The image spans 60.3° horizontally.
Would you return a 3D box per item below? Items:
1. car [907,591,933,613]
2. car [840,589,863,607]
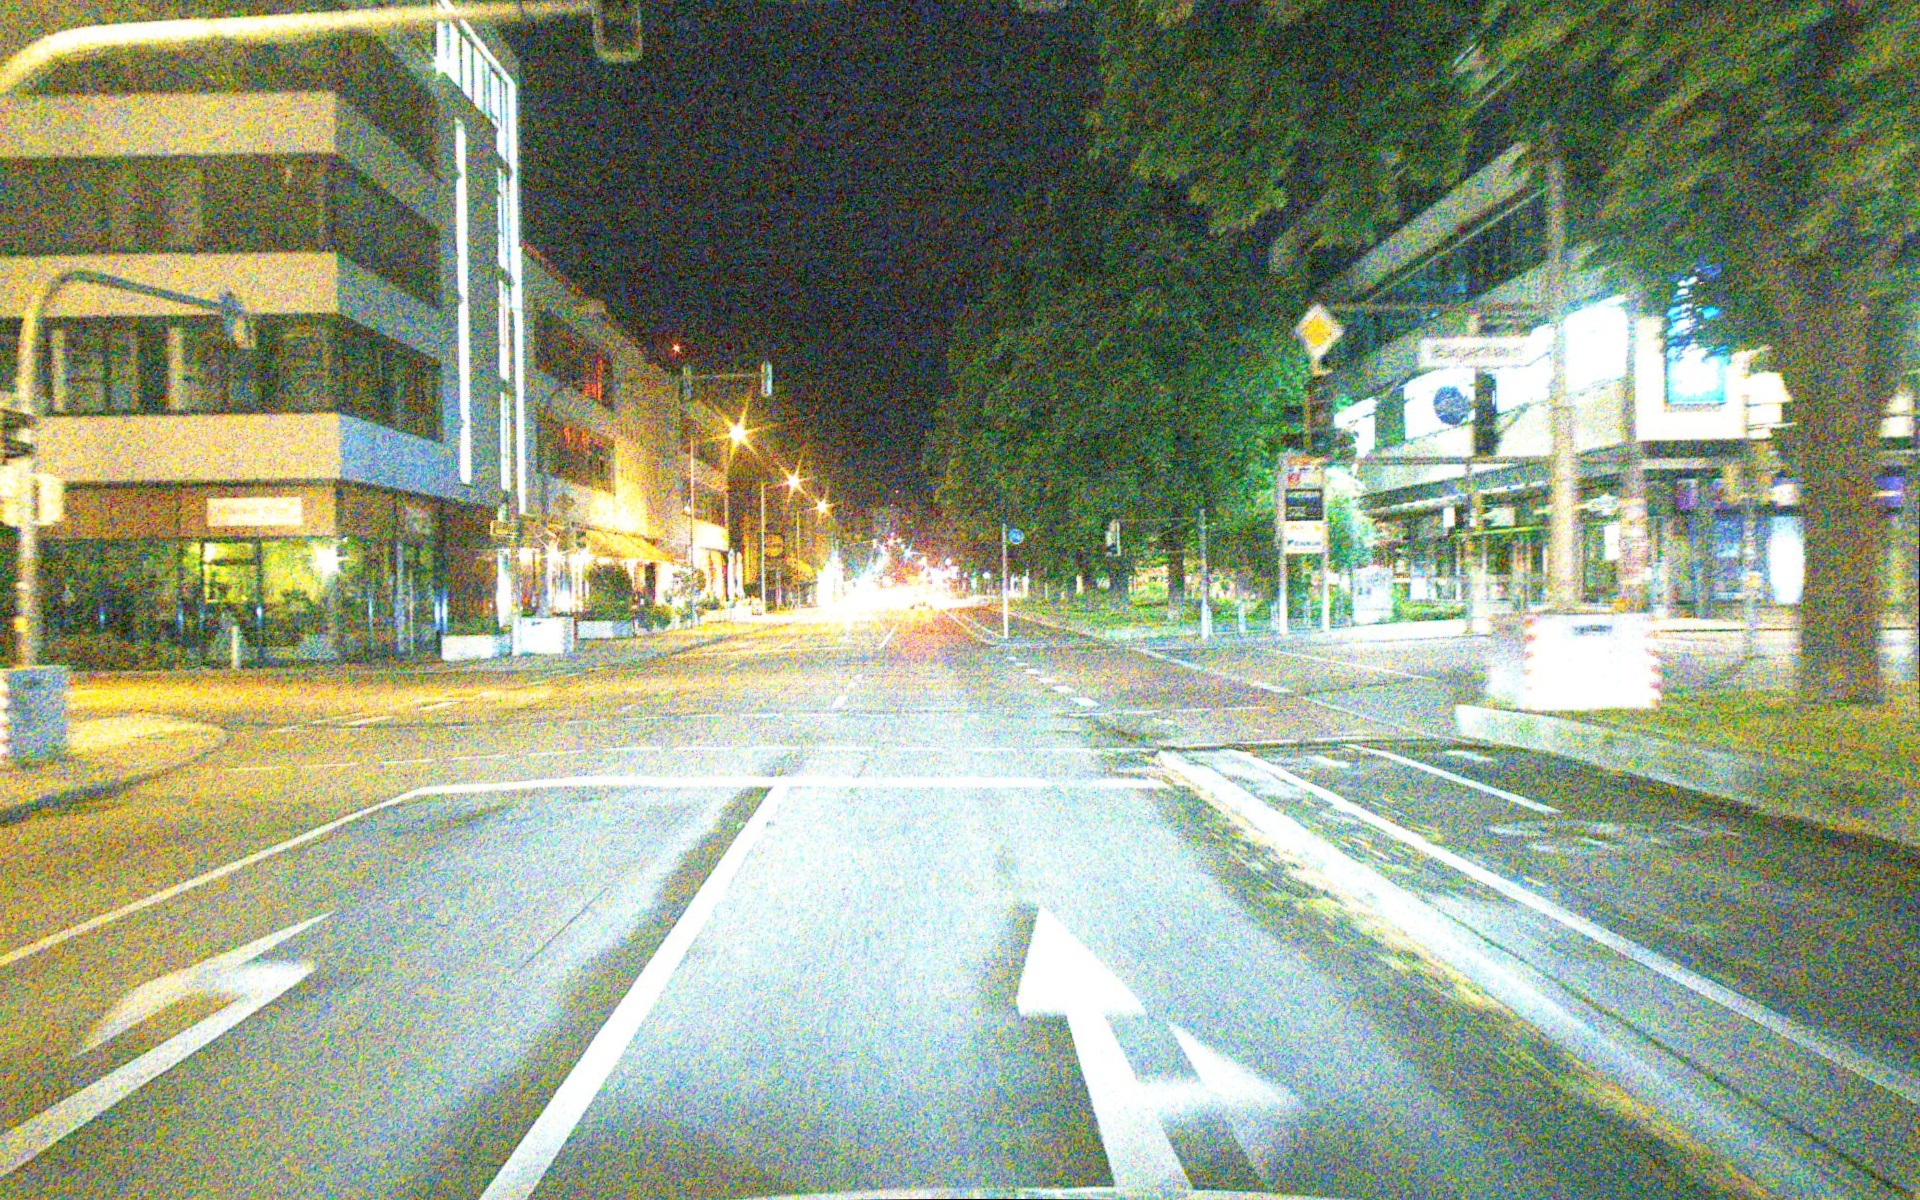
[{"bbox_3d":[-3.224,0.168,132.307,1.953,1.672,3.999,-2,0,-2],"label":"car"},{"bbox_3d":[-10.282,-0.205,156.889,1.954,1.672,3.998,-2,0,-3],"label":"car"}]
